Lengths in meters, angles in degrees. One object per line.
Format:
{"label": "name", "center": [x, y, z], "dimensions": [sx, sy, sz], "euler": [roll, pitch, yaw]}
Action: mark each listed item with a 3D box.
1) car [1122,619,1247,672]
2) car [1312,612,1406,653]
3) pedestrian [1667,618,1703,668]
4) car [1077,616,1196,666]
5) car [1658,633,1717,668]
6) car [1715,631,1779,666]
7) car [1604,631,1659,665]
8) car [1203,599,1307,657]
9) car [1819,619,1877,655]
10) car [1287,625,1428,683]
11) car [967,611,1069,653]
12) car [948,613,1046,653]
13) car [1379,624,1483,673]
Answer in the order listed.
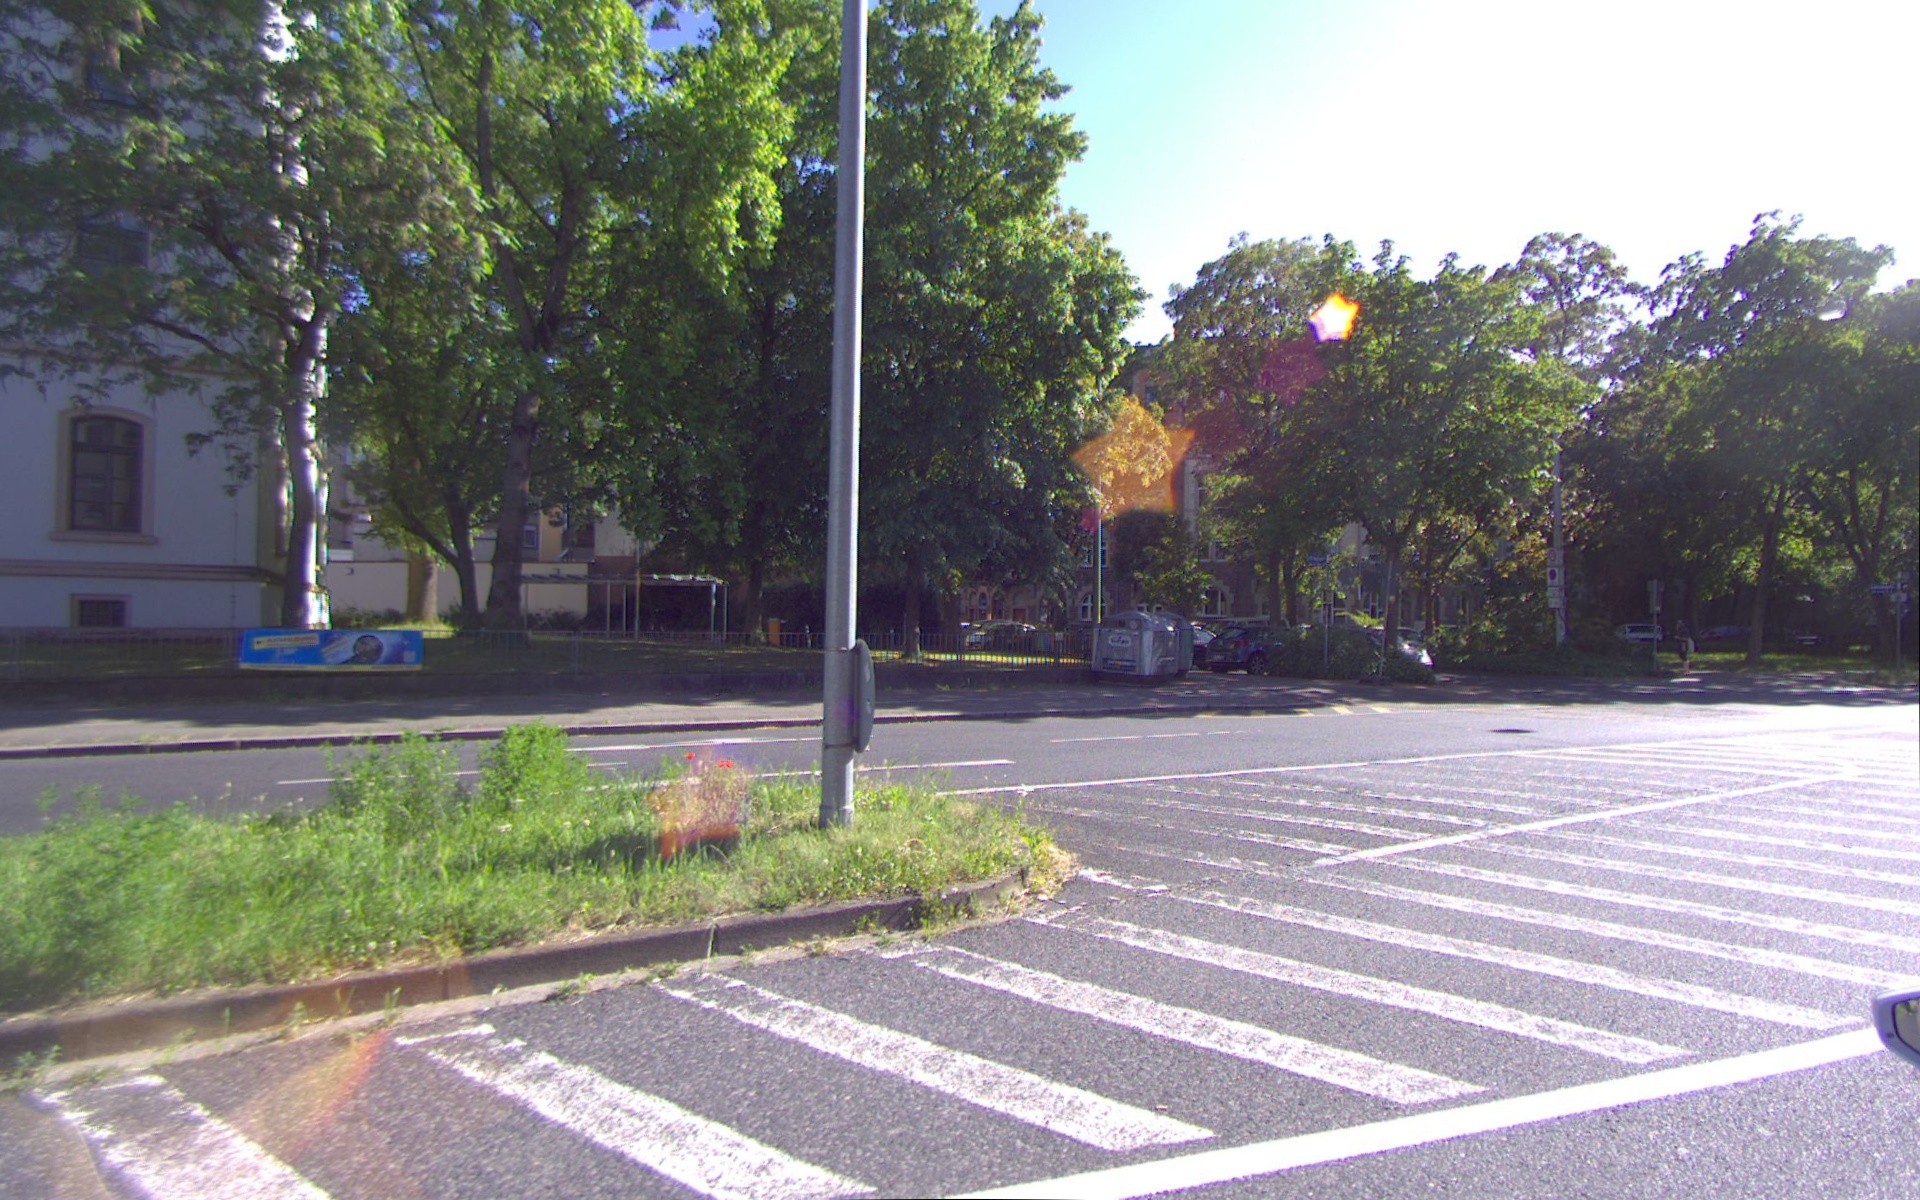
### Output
{"label": "car", "center": [7.712, 1.561, 34.393], "dimensions": [3.955, 1.510, 1.836], "euler": [5, -2, -30]}
{"label": "car", "center": [17.604, 1.414, 44.269], "dimensions": [3.953, 1.676, 1.836], "euler": [0, 1, -31]}
{"label": "pedestrian", "center": [24.263, 1.440, 33.620], "dimensions": [0.701, 1.648, 0.671], "euler": [1, 0, 3]}
{"label": "car", "center": [6.396, 1.489, 36.298], "dimensions": [3.955, 1.510, 1.836], "euler": [5, -2, -30]}
{"label": "car", "center": [37.998, 2.624, 52.553], "dimensions": [1.945, 1.684, 3.994], "euler": [0, -1, 28]}
{"label": "car", "center": [40.155, 2.436, 51.338], "dimensions": [1.946, 1.684, 3.993], "euler": [0, -1, 29]}
{"label": "car", "center": [36.100, 2.539, 54.069], "dimensions": [1.945, 1.684, 3.996], "euler": [0, -1, 27]}
{"label": "car", "center": [14.231, 1.365, 48.338], "dimensions": [4.929, 2.354, 1.836], "euler": [5, -1, -30]}
{"label": "car", "center": [44.220, 1.828, 50.089], "dimensions": [1.951, 1.684, 3.982], "euler": [0, -1, 39]}
{"label": "car", "center": [12.371, 1.631, 31.521], "dimensions": [1.786, 1.489, 3.975], "euler": [-3, 1, -25]}
{"label": "car", "center": [2.516, 1.396, 43.192], "dimensions": [3.955, 1.510, 1.836], "euler": [5, -2, -30]}
{"label": "car", "center": [1.658, 1.490, 45.022], "dimensions": [3.955, 1.510, 1.836], "euler": [5, -2, -30]}
{"label": "car", "center": [18.997, 1.970, 40.465], "dimensions": [3.955, 1.675, 1.836], "euler": [5, -2, -30]}
